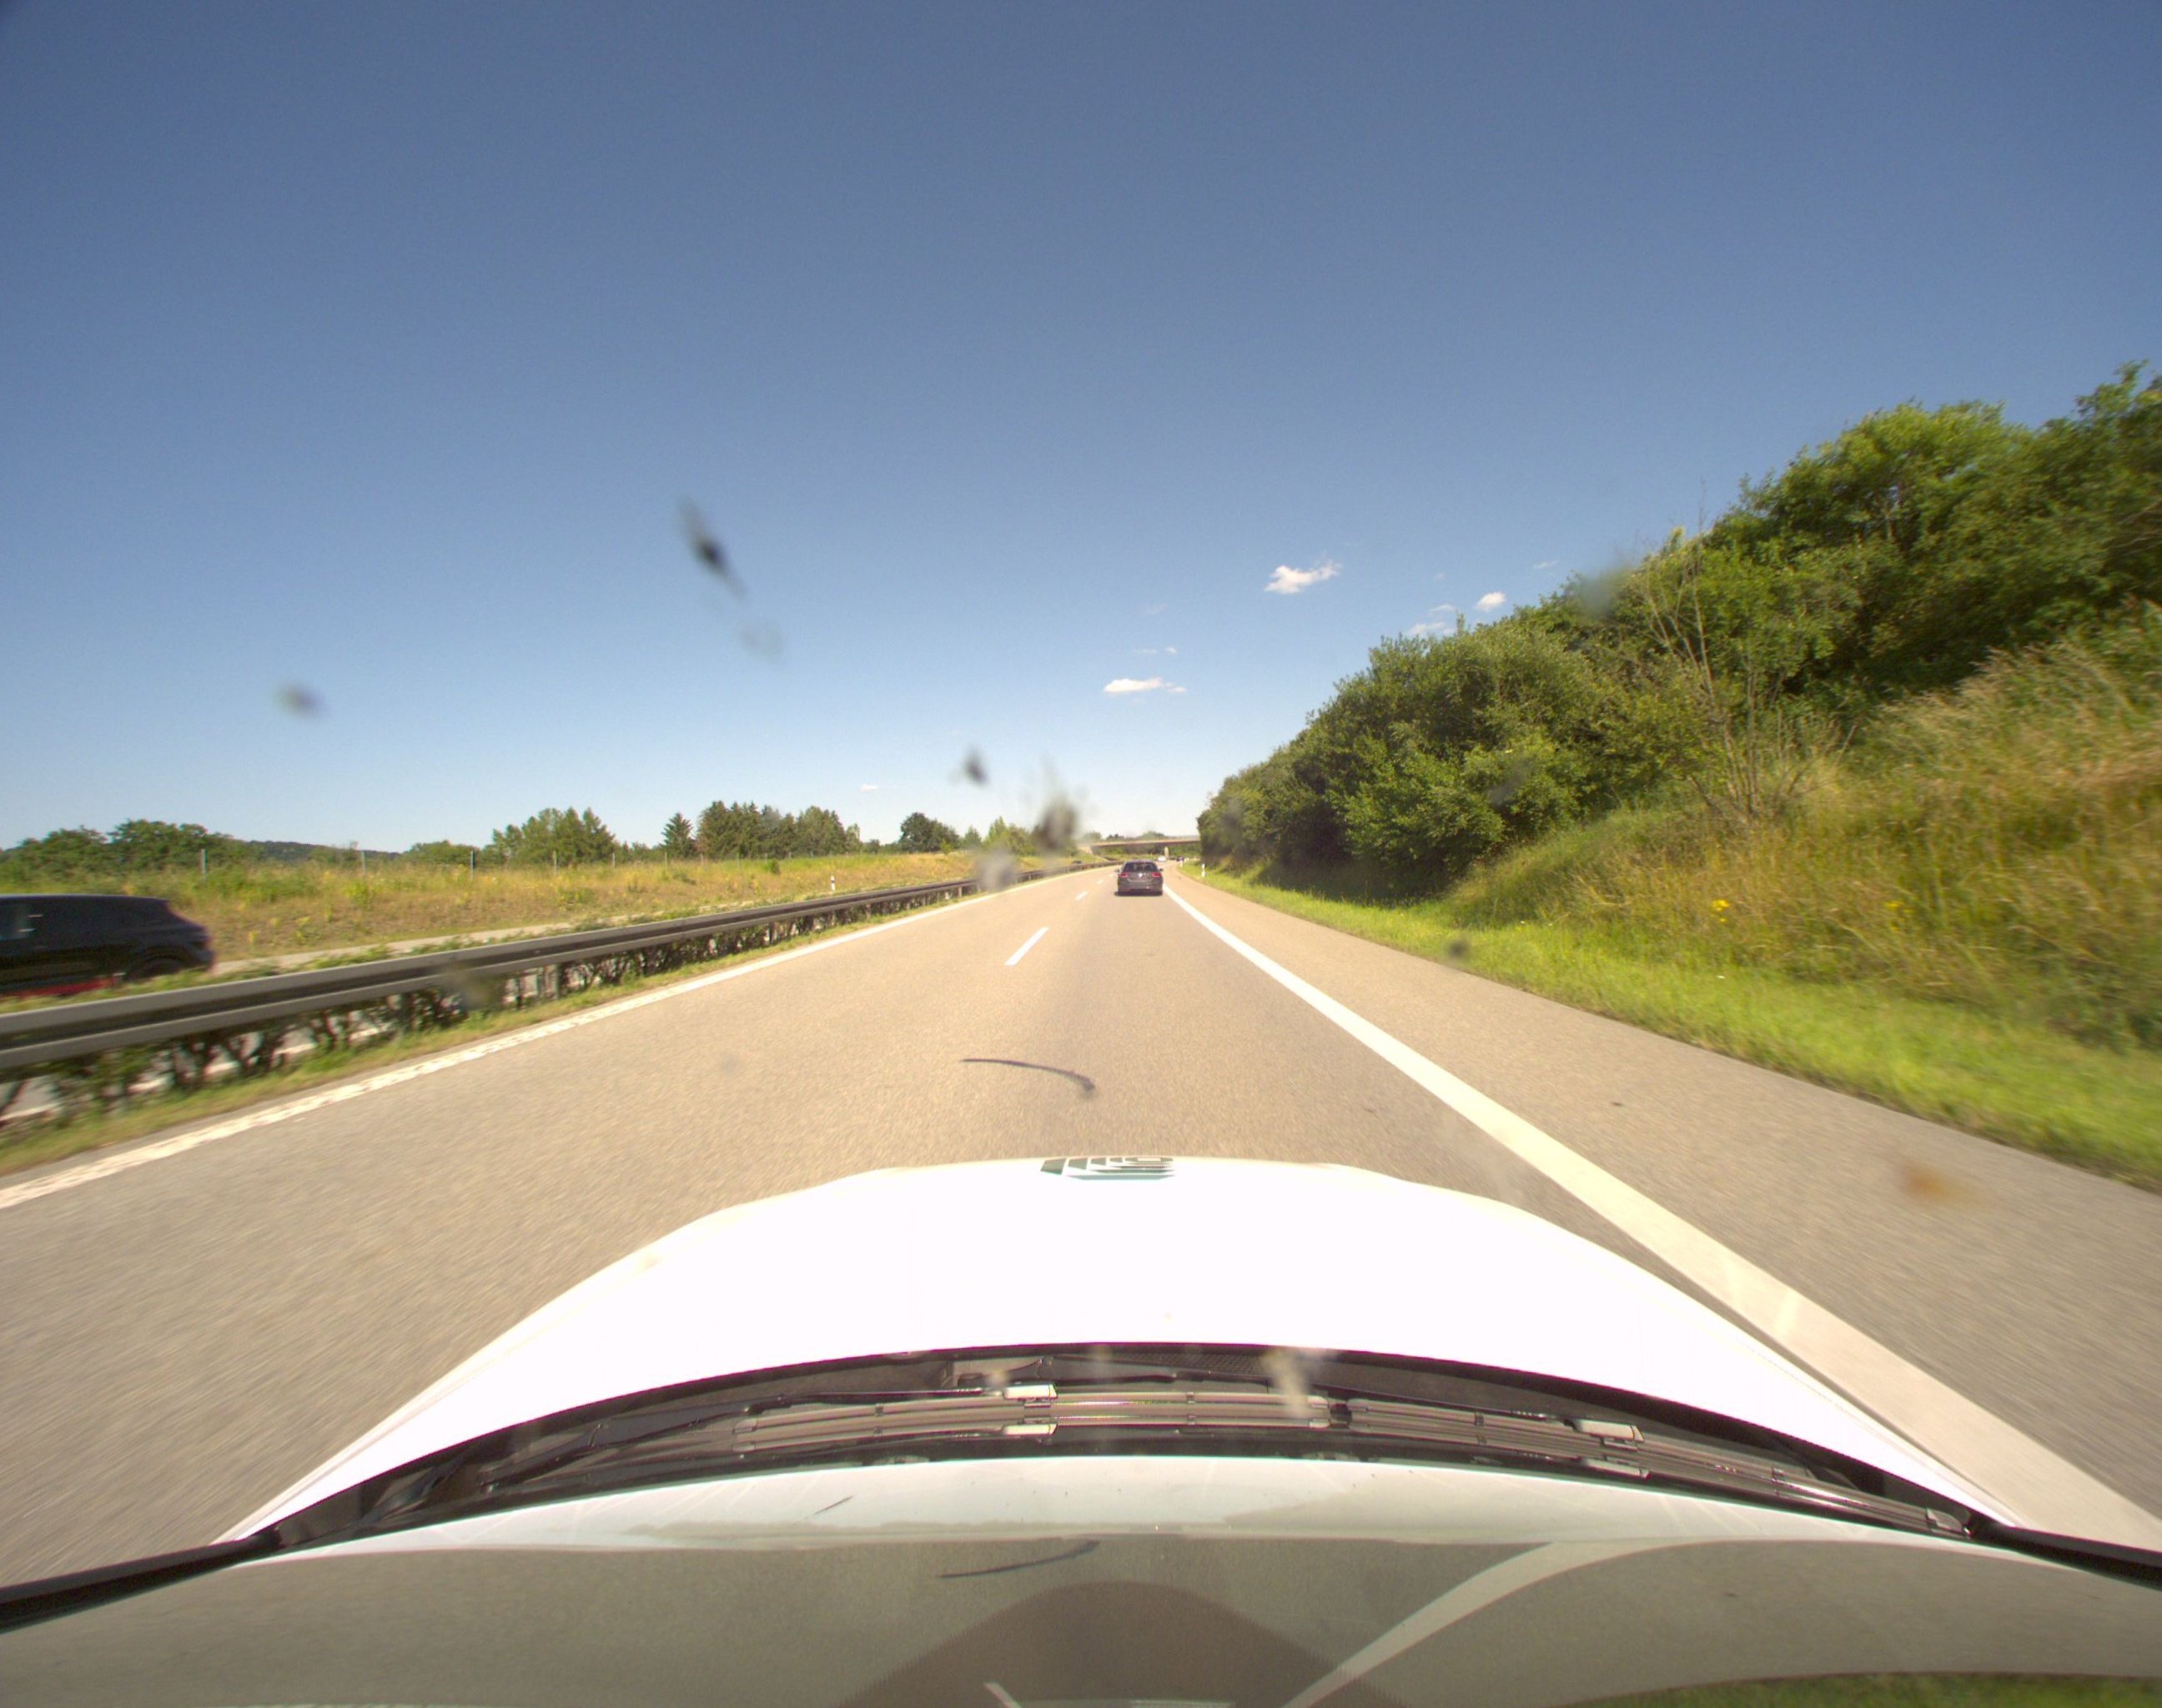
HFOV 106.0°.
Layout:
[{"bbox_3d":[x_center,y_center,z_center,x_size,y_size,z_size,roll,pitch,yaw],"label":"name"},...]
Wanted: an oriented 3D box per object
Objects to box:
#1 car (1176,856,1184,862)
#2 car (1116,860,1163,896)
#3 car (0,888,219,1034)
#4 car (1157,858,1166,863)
[{"bbox_3d":[25.425,1.330,209.078,1.703,1.387,3.359,0,-2,4],"label":"car"},{"bbox_3d":[2.429,0.918,33.074,1.782,1.344,4.006,0,0,5],"label":"car"},{"bbox_3d":[-13.275,1.306,9.376,1.824,1.552,4.467,-1,0,2],"label":"car"},{"bbox_3d":[20.075,1.648,202.875,1.996,1.345,4.007,0,-2,6],"label":"car"}]
